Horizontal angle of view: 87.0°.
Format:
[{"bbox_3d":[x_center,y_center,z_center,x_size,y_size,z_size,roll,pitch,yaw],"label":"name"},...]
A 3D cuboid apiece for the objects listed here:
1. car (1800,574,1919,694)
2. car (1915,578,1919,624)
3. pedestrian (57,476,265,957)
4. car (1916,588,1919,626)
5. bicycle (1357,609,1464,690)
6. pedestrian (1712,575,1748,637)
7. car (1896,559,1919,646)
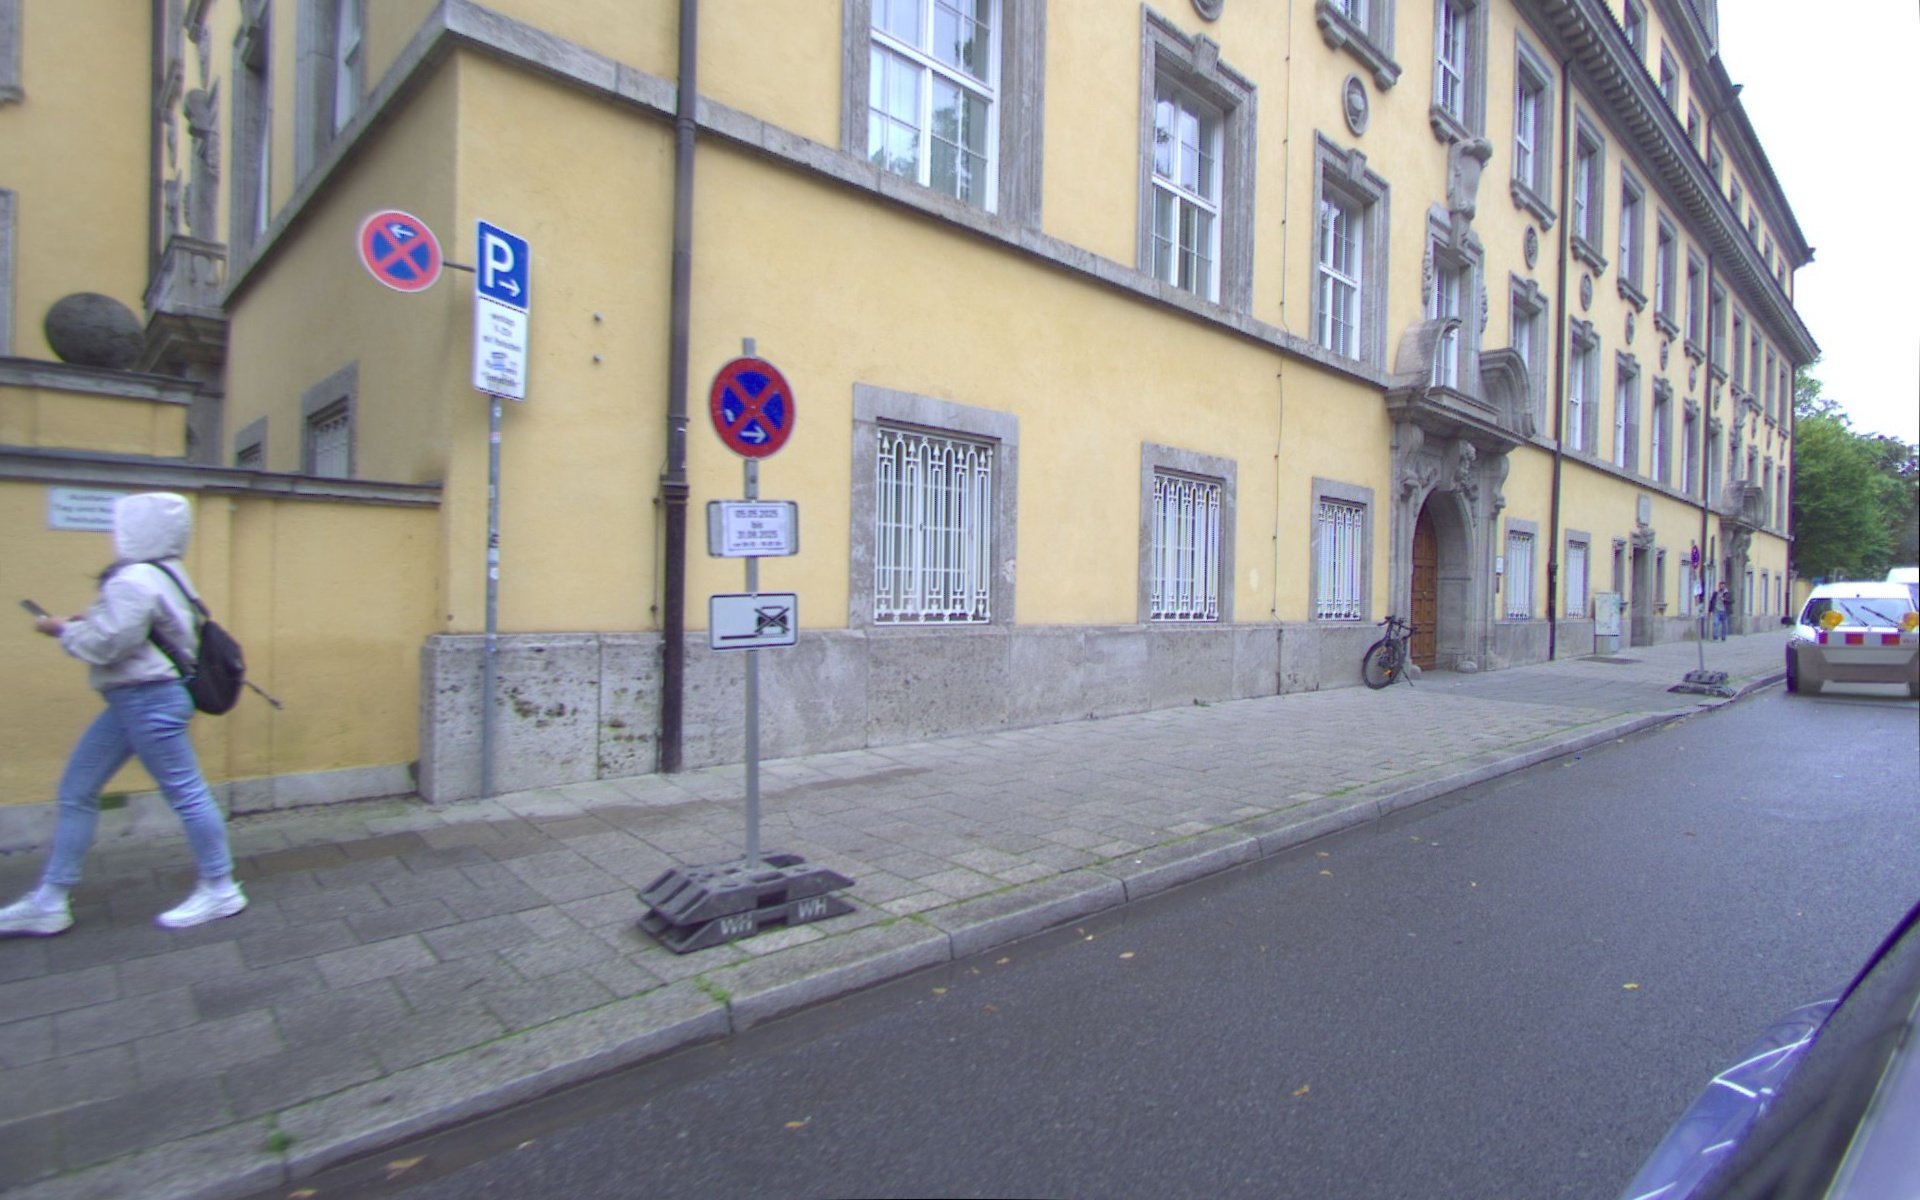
[{"bbox_3d":[15.506,0.460,17.022,1.740,1.771,4.286,2,2,45],"label":"car"},{"bbox_3d":[55.491,0.038,57.181,2.096,2.518,5.649,2,2,44],"label":"car"},{"bbox_3d":[-3.058,0.387,3.869,0.562,1.657,0.561,0,3,-44],"label":"pedestrian"},{"bbox_3d":[50.661,0.334,52.067,2.012,1.930,5.085,0,0,42],"label":"car"},{"bbox_3d":[6.479,0.674,14.497,2.023,1.019,0.680,-1,2,-44],"label":"bicycle"},{"bbox_3d":[23.282,0.161,30.600,0.573,1.826,0.701,-1,3,-45],"label":"pedestrian"},{"bbox_3d":[32.891,0.067,33.941,2.055,2.706,7.494,2,2,44],"label":"car"}]
